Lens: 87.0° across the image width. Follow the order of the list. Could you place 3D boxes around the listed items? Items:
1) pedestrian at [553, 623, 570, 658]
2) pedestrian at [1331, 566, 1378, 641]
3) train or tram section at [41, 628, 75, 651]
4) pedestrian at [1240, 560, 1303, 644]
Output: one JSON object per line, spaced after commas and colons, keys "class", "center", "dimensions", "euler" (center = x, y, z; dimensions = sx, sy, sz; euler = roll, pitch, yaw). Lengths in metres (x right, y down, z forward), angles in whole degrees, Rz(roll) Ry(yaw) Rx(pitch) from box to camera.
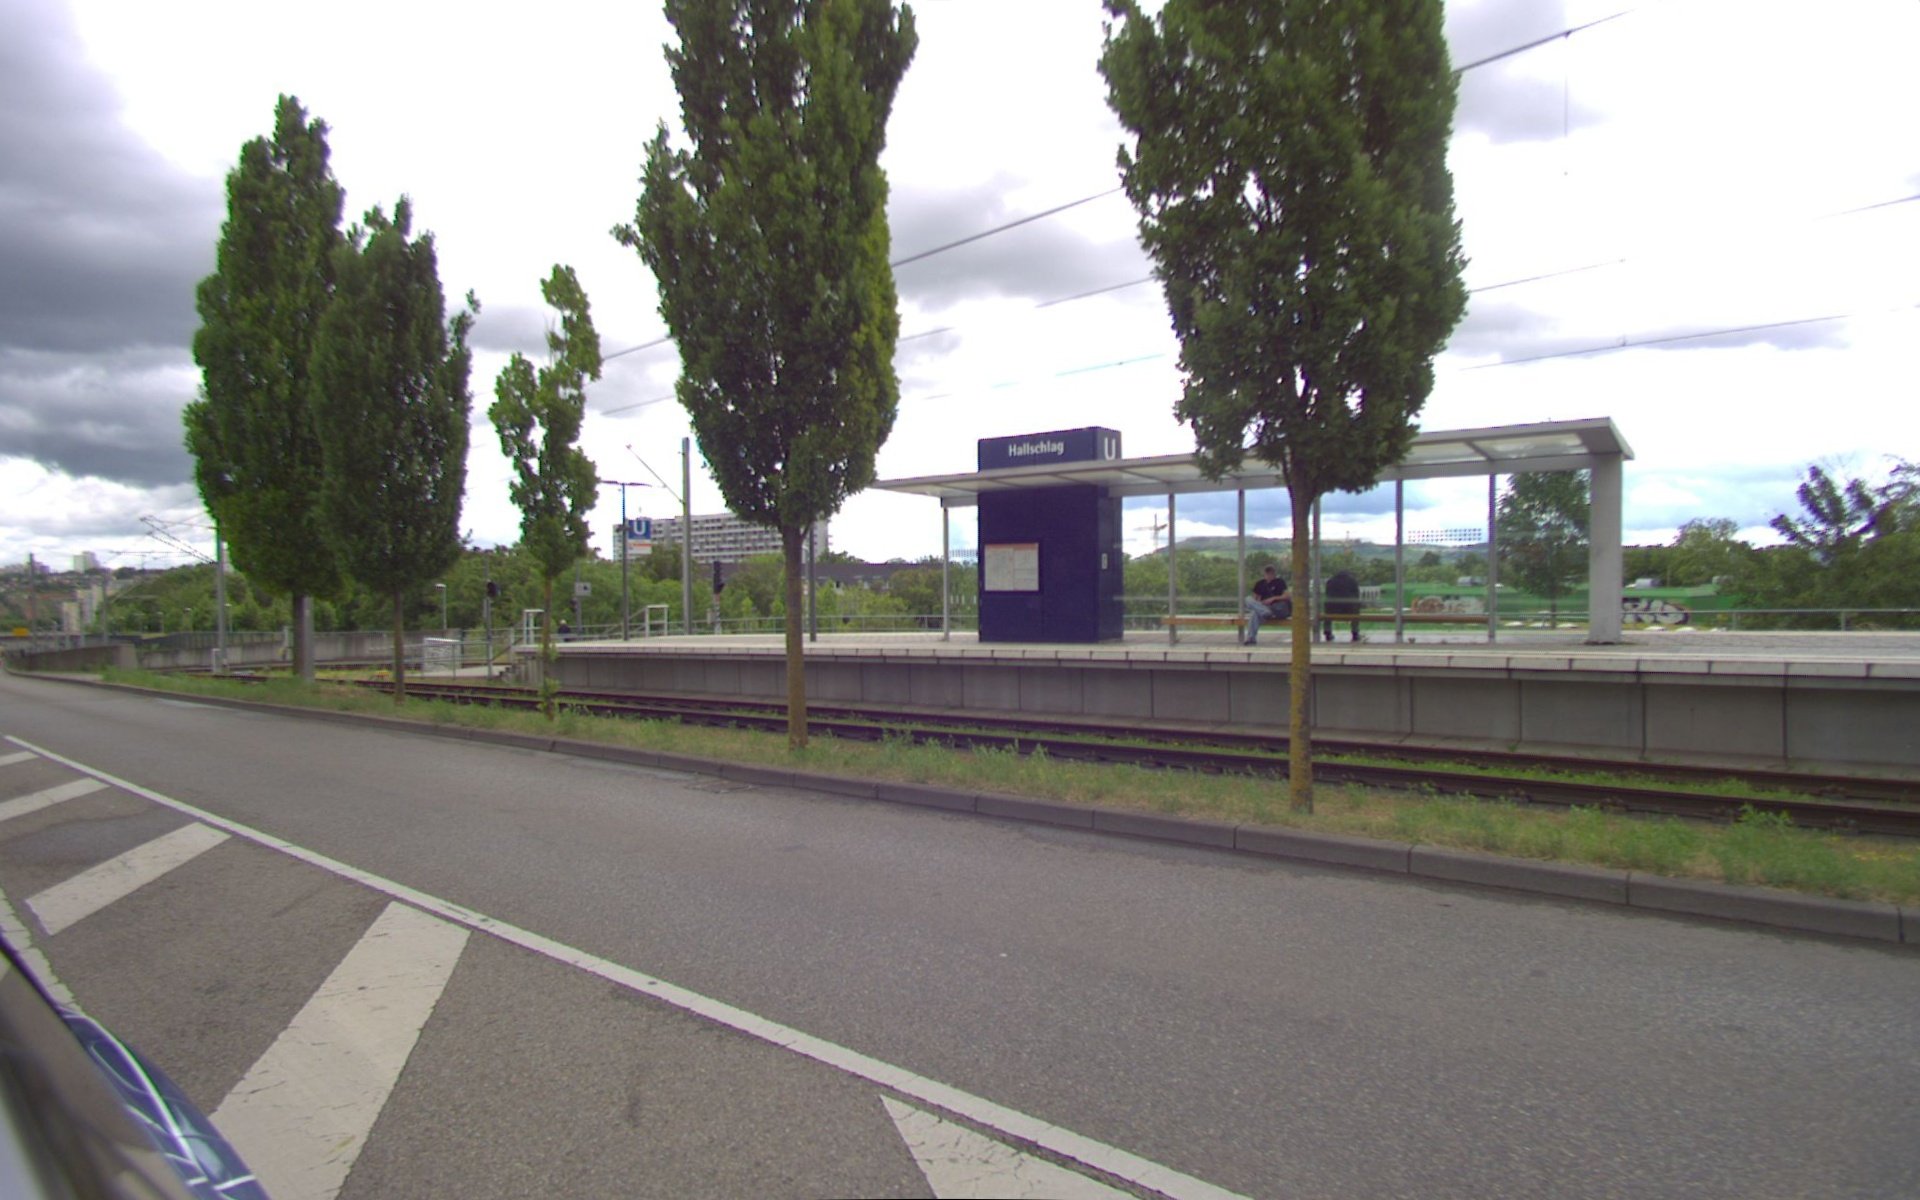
{"class": "pedestrian", "center": [-18.754, 1.901, 47.592], "dimensions": [0.646, 1.637, 0.501], "euler": [-3, -2, 44]}
{"class": "pedestrian", "center": [5.906, 0.061, 15.146], "dimensions": [0.470, 1.087, 0.601], "euler": [-3, -2, 38]}
{"class": "train or tram section", "center": [-135.602, 5.988, 152.018], "dimensions": [2.749, 3.218, 18.483], "euler": [0, -2, -45]}
{"class": "pedestrian", "center": [4.672, 0.035, 15.178], "dimensions": [0.664, 1.208, 0.754], "euler": [-2, -1, 39]}
